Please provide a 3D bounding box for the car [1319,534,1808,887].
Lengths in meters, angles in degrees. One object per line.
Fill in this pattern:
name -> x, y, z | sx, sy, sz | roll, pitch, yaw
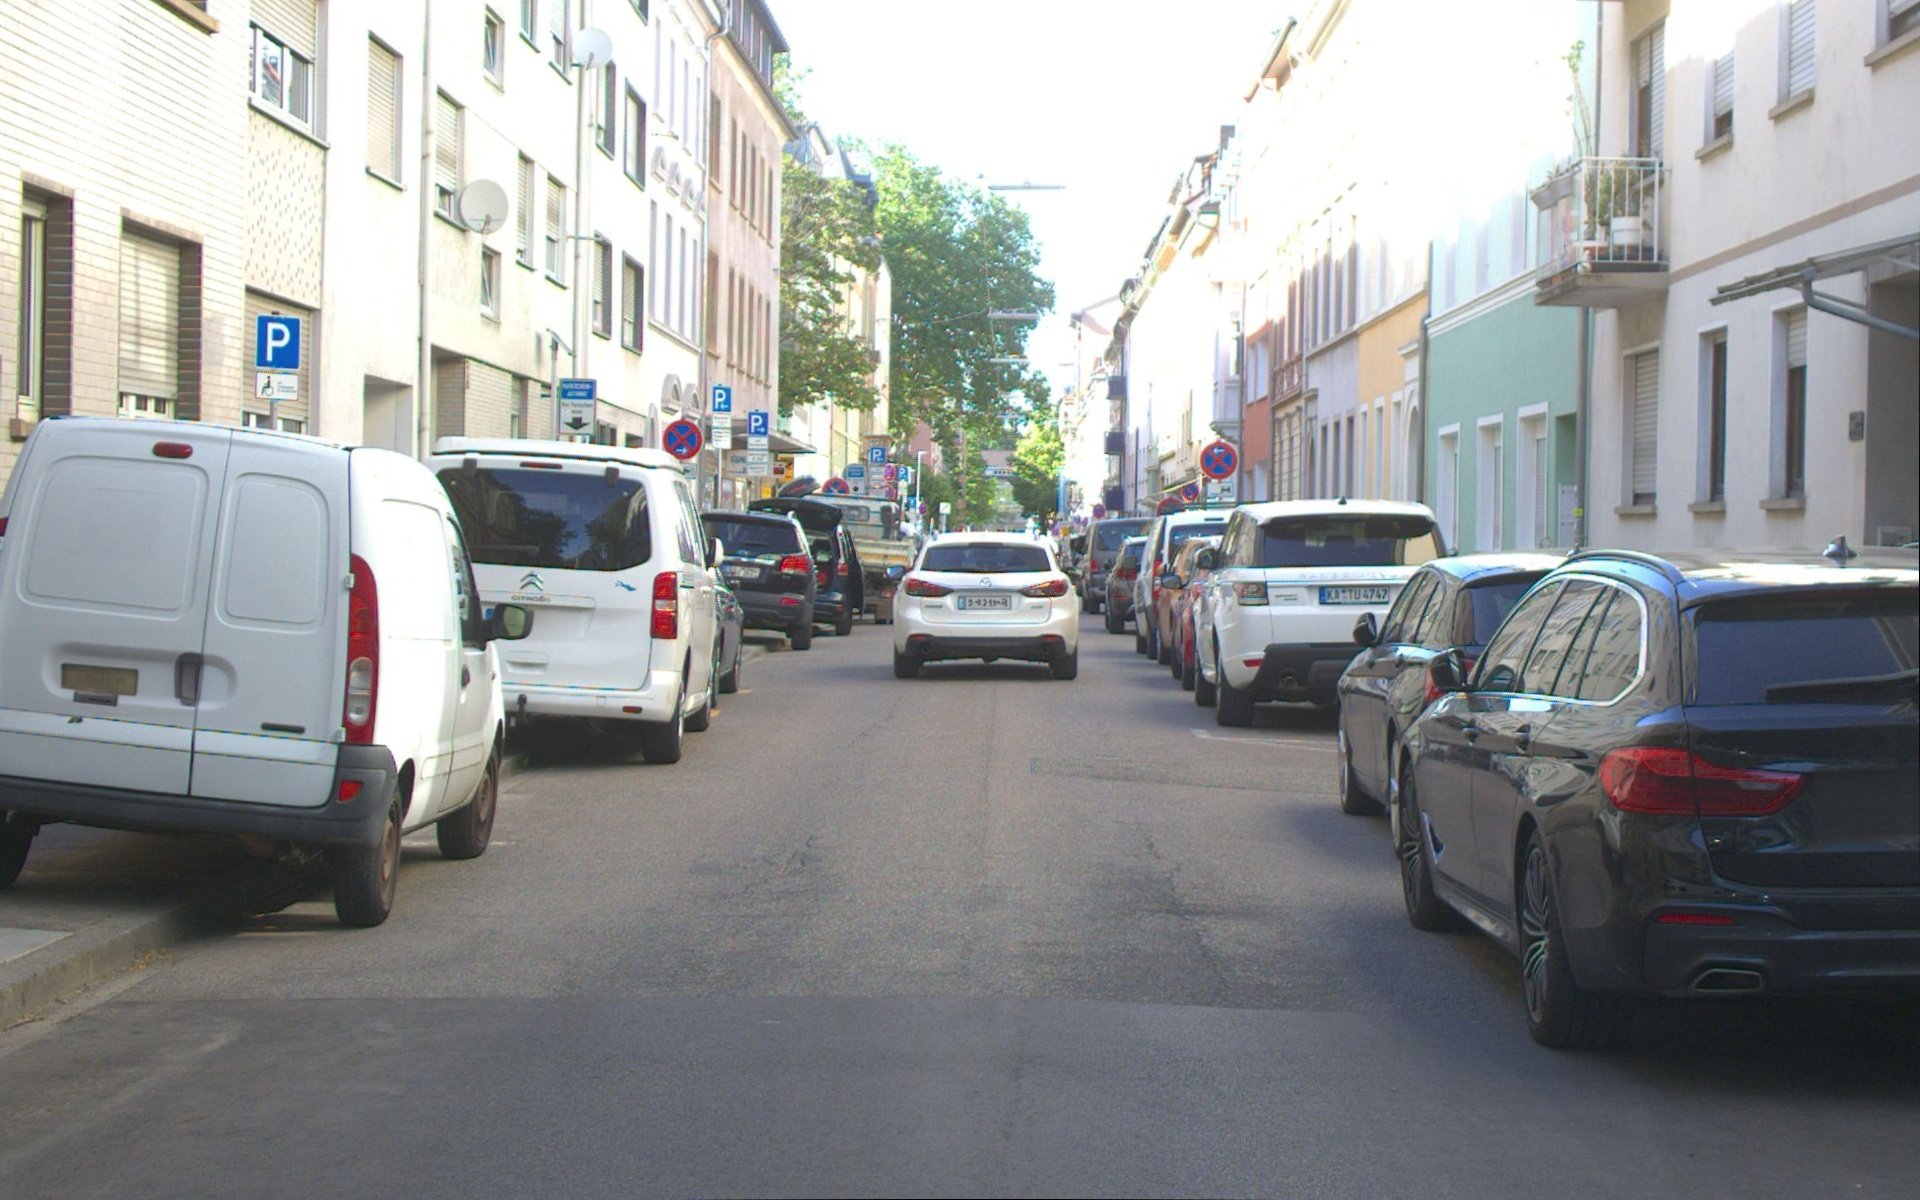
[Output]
car -> 2.889, 0.456, 17.260 | 1.746, 1.443, 3.870 | 3, 2, 1

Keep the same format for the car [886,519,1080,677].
car -> 0.288, -0.054, 34.925 | 1.834, 1.481, 4.057 | 1, 1, 2

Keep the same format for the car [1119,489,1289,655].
car -> 3.023, -0.360, 43.365 | 1.782, 1.955, 4.336 | 1, 1, 0

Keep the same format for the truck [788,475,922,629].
truck -> -1.935, -0.810, 61.291 | 2.156, 2.581, 6.250 | 1, 0, -4

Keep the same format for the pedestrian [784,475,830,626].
pedestrian -> -2.262, -0.723, 50.883 | 0.619, 2.221, 0.688 | 1, 0, 1

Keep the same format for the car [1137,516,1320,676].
car -> 2.946, -0.079, 38.343 | 1.580, 1.626, 3.682 | 3, 1, -2

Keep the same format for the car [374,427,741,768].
car -> -2.581, -0.083, 23.121 | 1.894, 1.951, 4.782 | 3, 2, -1

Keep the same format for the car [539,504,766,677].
car -> -2.788, -0.119, 31.949 | 1.706, 1.445, 4.302 | 2, 1, 0

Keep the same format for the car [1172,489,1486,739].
car -> 2.831, 0.033, 27.446 | 2.005, 1.777, 4.939 | 1, 2, 1

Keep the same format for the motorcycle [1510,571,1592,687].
motorcycle -> 5.591, 0.263, 32.565 | 0.480, 1.043, 1.691 | 1, 1, 1

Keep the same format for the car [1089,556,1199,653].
car -> 3.235, 0.053, 61.135 | 1.742, 1.563, 4.032 | 1, 2, 1

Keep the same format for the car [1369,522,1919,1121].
car -> 2.563, 0.556, 11.460 | 1.815, 1.514, 4.728 | 3, 2, 1

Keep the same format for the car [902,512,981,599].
car -> -0.441, -1.004, 76.768 | 1.647, 1.861, 4.000 | 1, 1, -2

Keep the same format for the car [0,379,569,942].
car -> -2.814, 0.145, 14.171 | 1.744, 1.869, 4.090 | 5, 2, 1

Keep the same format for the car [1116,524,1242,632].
car -> 3.410, -0.385, 54.181 | 1.739, 1.571, 4.378 | 1, 2, 1

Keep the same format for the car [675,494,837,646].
car -> -2.617, -0.436, 44.652 | 1.879, 1.749, 4.543 | 4, 1, -3

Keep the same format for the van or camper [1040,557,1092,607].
van or camper -> 4.178, -0.687, 136.362 | 1.993, 1.919, 4.000 | 1, 0, 1

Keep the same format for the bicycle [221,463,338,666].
bicycle -> -5.292, -0.281, 26.806 | 0.557, 1.504, 1.800 | 3, 1, -3

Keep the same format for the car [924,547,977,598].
car -> -0.305, -0.907, 113.341 | 1.625, 1.591, 3.580 | 2, 1, 1

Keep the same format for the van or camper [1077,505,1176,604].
van or camper -> 3.513, -0.961, 73.241 | 1.775, 2.029, 4.570 | 0, 1, -1

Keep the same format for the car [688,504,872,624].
car -> -2.722, -0.580, 53.338 | 2.441, 1.700, 5.242 | 2, 1, 1

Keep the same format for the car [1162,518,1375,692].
car -> 2.970, -0.001, 33.839 | 1.742, 1.563, 4.032 | 1, 2, 1
